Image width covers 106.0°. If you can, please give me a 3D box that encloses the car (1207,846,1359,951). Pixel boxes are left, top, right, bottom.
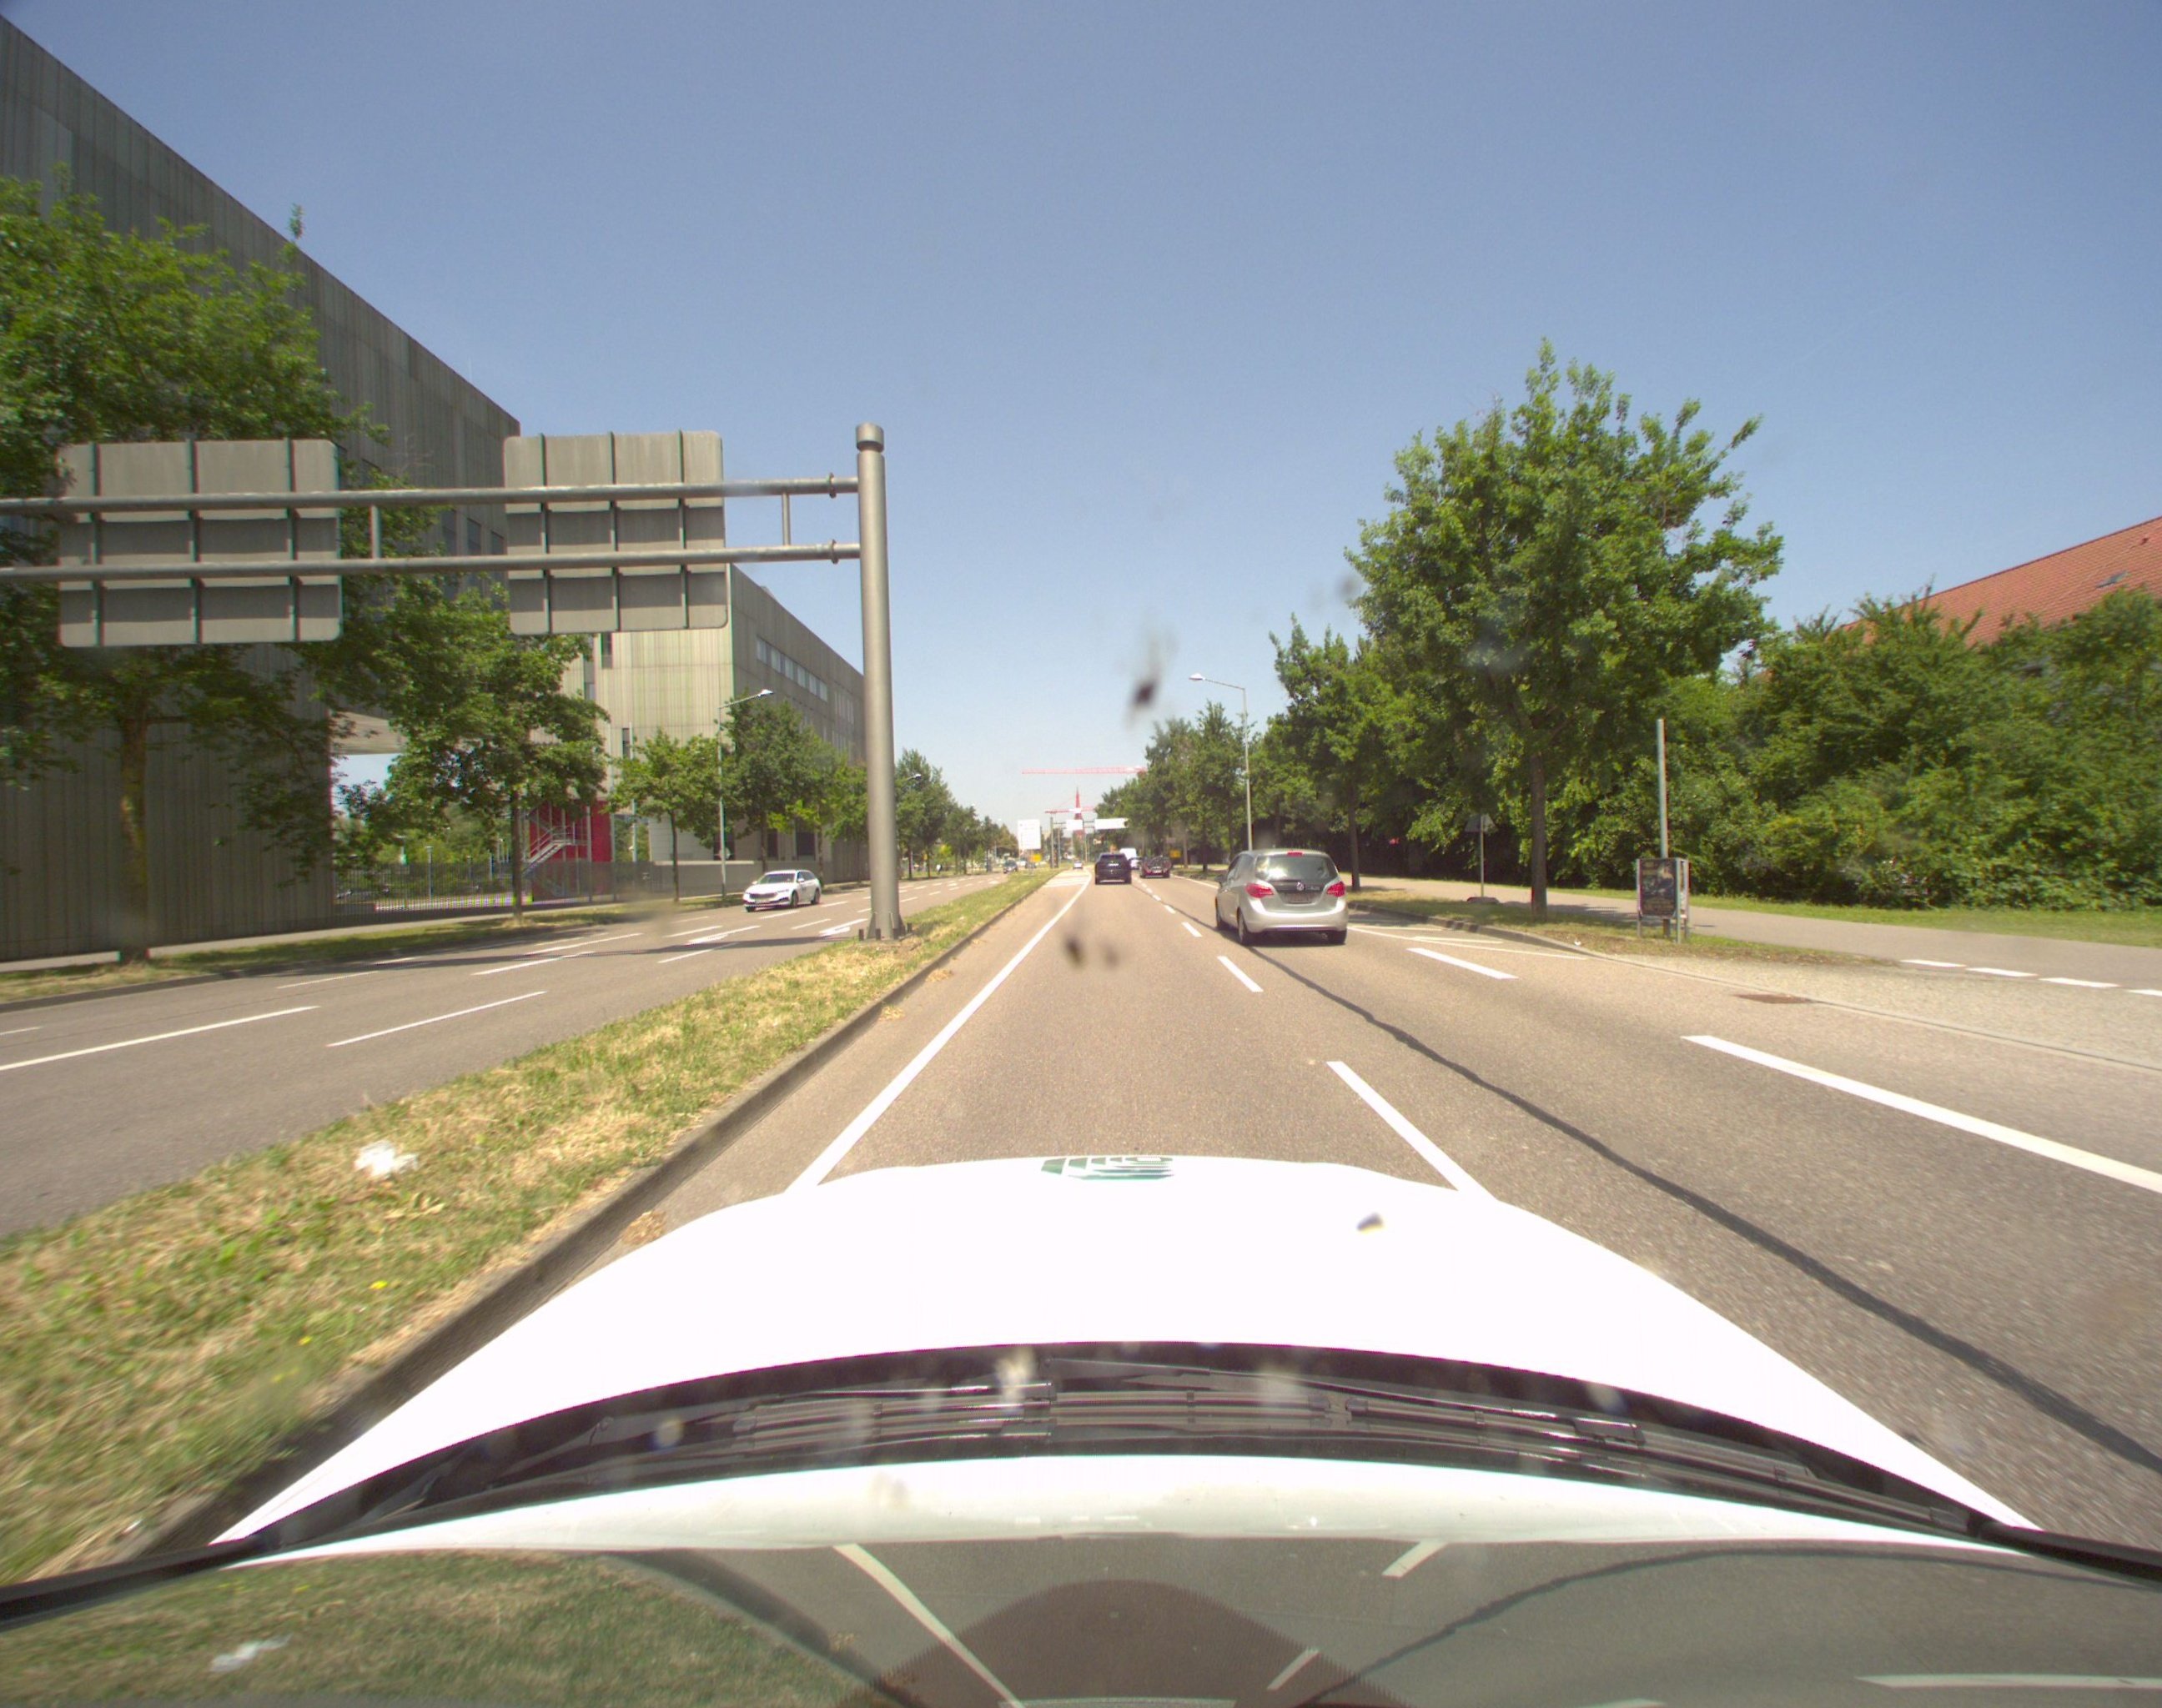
[{"bbox_3d":[3.463,0.697,14.686,1.786,1.612,3.891,-1,0,1],"label":"car"}]

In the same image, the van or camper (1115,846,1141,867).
[{"bbox_3d":[5.505,0.325,96.051,2.488,2.291,4.915,-2,-1,-3],"label":"van or camper"}]

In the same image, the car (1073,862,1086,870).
[{"bbox_3d":[-0.319,2.163,146.515,1.990,1.321,3.994,-2,0,-4],"label":"car"}]

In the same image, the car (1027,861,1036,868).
[{"bbox_3d":[-11.451,2.381,188.317,1.888,1.610,4.530,-2,0,-2],"label":"car"}]

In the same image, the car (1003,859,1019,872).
[{"bbox_3d":[-8.890,1.418,103.807,1.703,1.471,3.938,-4,0,-2],"label":"car"}]

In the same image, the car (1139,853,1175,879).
[{"bbox_3d":[4.808,0.750,52.249,2.006,1.517,4.462,-2,-1,2],"label":"car"}]

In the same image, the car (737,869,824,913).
[{"bbox_3d":[-11.485,1.366,31.435,1.806,1.427,4.355,-4,0,-2],"label":"car"}]

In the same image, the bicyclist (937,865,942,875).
[{"bbox_3d":[-21.646,2.502,124.775,0.620,1.489,0.757,-2,-1,3],"label":"bicyclist"}]

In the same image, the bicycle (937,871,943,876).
[{"bbox_3d":[-21.623,3.055,124.669,0.479,0.715,1.851,-2,-1,3],"label":"bicycle"}]

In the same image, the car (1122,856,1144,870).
[{"bbox_3d":[5.290,0.950,82.949,1.651,1.356,4.454,-2,-1,-4],"label":"car"}]

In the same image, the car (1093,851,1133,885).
[{"bbox_3d":[1.665,0.723,43.346,1.991,1.689,4.034,-1,0,1],"label":"car"}]
